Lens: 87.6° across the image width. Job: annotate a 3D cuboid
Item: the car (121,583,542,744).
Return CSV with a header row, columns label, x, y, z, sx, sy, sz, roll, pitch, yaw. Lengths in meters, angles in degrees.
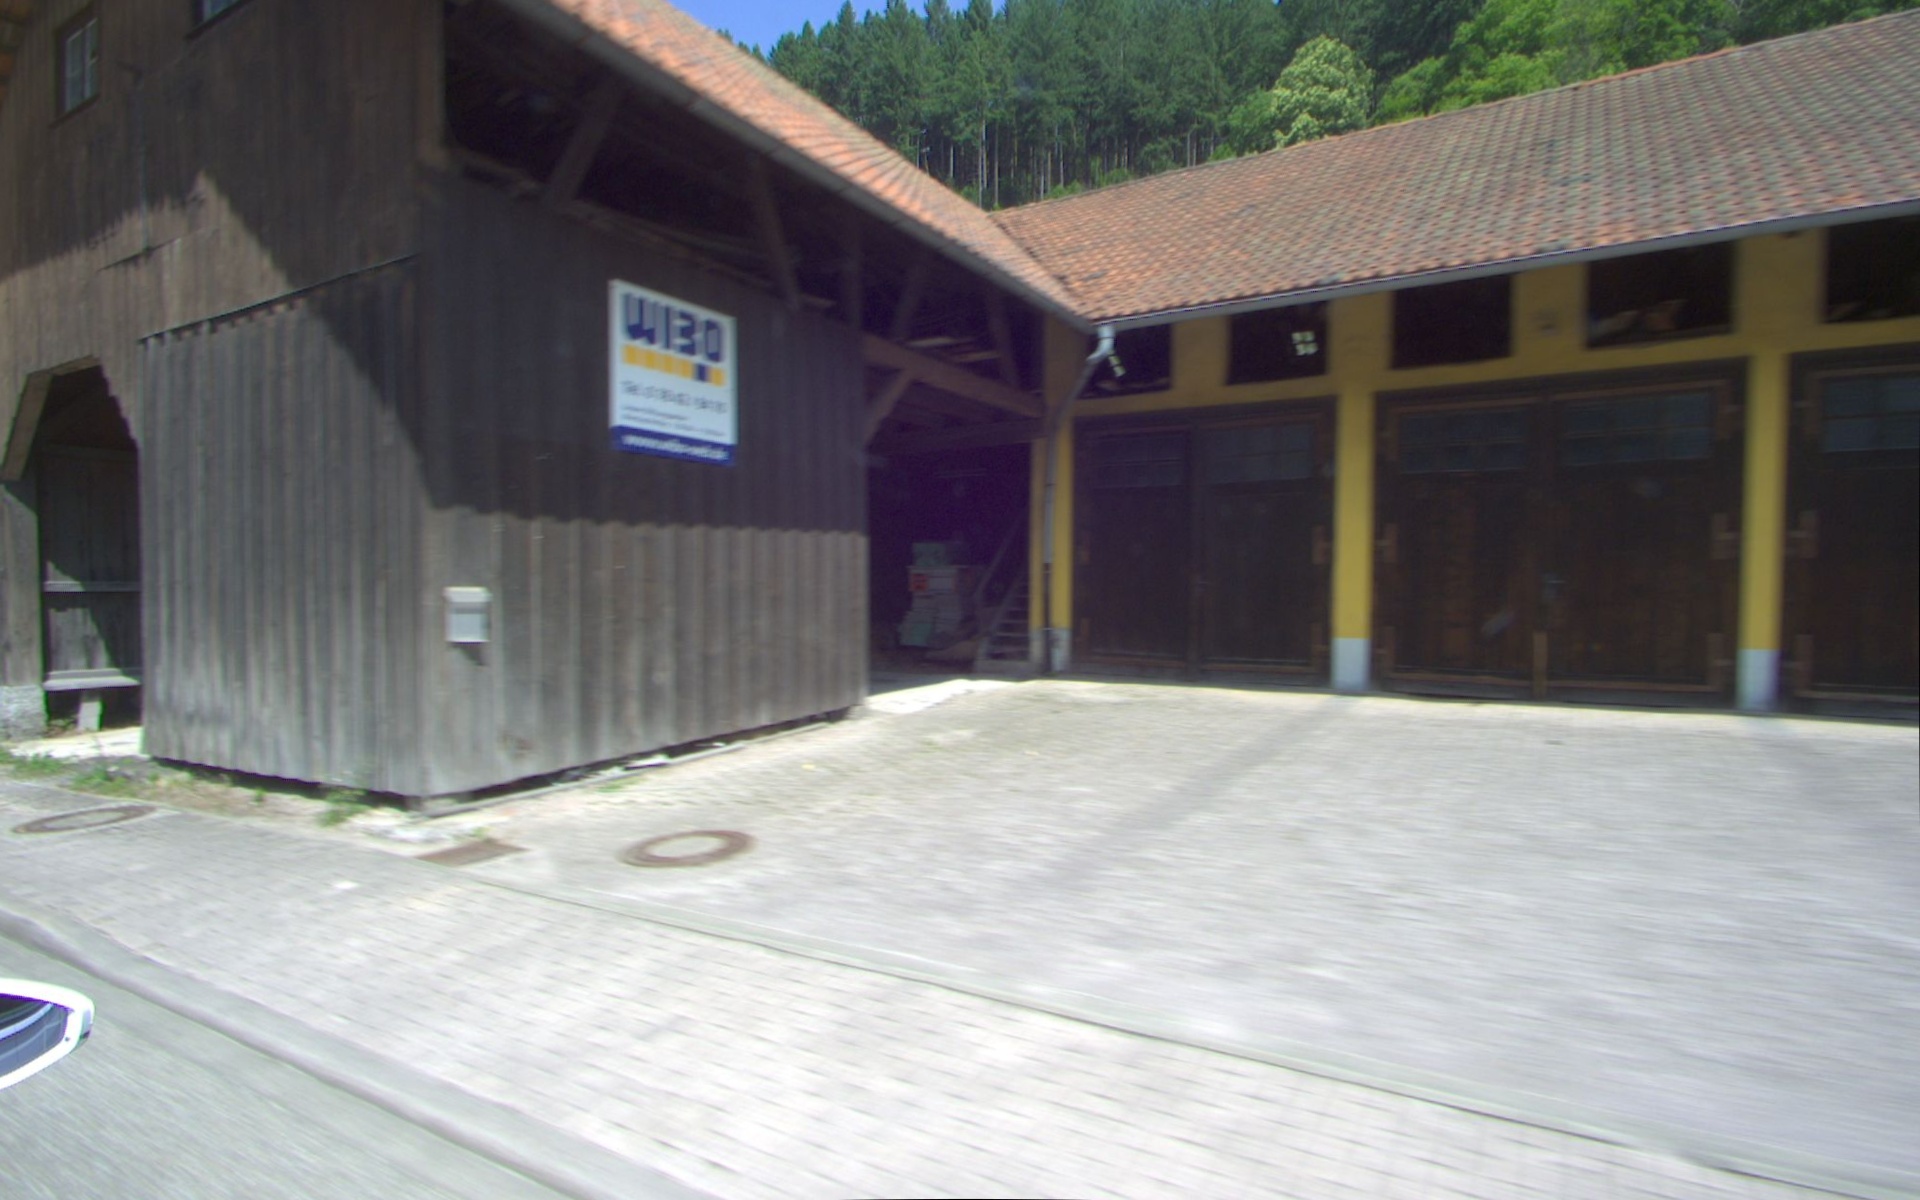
label,x,y,z,sx,sy,sz,roll,pitch,yaw
car,-7.318,0.595,11.877,3.956,1.529,1.853,-2,3,-42
